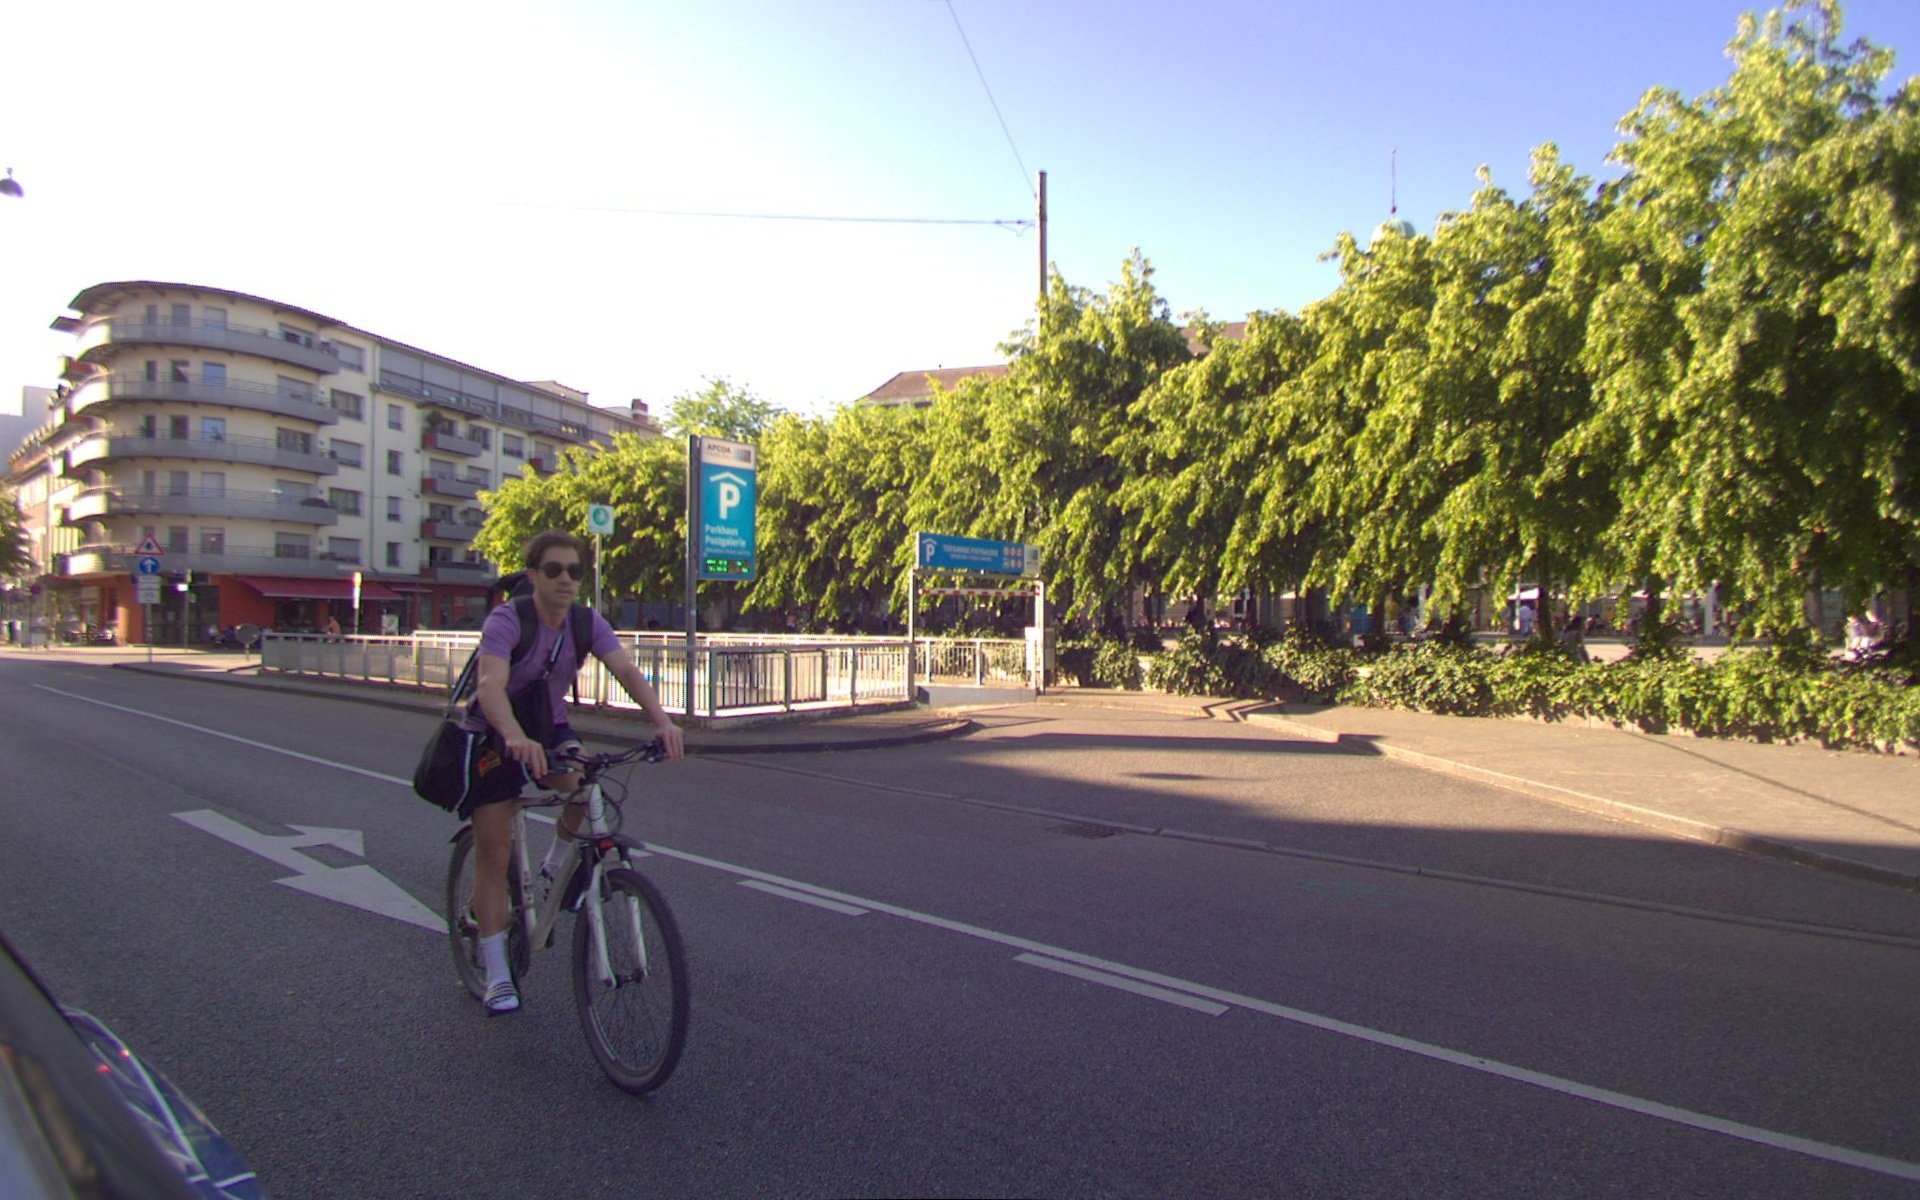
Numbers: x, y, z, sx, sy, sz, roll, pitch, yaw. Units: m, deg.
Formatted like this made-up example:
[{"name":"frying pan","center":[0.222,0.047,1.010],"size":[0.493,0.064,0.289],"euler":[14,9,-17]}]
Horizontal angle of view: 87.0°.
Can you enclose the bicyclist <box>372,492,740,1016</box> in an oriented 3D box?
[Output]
[{"name":"bicyclist","center":[-1.378,0.432,3.432],"size":[1.007,1.445,0.788],"euler":[-1,-1,41]}]

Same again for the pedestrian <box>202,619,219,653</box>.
[{"name":"pedestrian","center":[-37.645,1.808,50.809],"size":[0.642,1.721,0.568],"euler":[-2,-2,43]}]

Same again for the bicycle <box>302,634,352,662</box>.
[{"name":"bicycle","center":[-29.819,2.251,47.686],"size":[1.843,1.221,0.715],"euler":[0,0,-10]}]

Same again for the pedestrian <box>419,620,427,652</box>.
[{"name":"pedestrian","center":[-28.291,1.914,53.358],"size":[0.318,1.680,0.362],"euler":[0,-1,-17]}]

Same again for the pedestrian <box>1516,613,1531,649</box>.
[{"name":"pedestrian","center":[28.847,1.567,51.810],"size":[0.598,1.806,0.577],"euler":[-1,0,27]}]

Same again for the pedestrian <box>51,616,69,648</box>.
[{"name":"pedestrian","center":[-47.246,1.674,53.132],"size":[0.792,1.634,0.563],"euler":[-1,-1,37]}]

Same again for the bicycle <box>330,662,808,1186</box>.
[{"name":"bicycle","center":[-1.398,0.869,3.441],"size":[1.773,1.242,0.788],"euler":[-1,-1,41]}]

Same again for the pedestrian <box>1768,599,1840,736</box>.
[{"name":"pedestrian","center":[11.794,0.920,14.153],"size":[0.597,1.870,0.578],"euler":[-1,0,22]}]

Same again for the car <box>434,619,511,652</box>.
[{"name":"car","center":[-30.453,2.192,63.388],"size":[1.938,1.927,4.403],"euler":[-1,-1,16]}]

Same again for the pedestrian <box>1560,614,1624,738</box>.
[{"name":"pedestrian","center":[9.892,1.166,15.838],"size":[0.732,1.870,0.574],"euler":[-1,-1,44]}]

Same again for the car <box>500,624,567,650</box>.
[{"name":"car","center":[-28.883,2.468,68.616],"size":[1.938,1.633,4.272],"euler":[-1,-1,16]}]

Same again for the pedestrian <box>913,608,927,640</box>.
[{"name":"pedestrian","center":[-2.286,1.379,58.095],"size":[0.578,1.806,0.597],"euler":[-1,0,20]}]

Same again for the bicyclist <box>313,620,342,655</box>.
[{"name":"bicyclist","center":[-29.816,1.748,47.688],"size":[0.960,1.627,0.715],"euler":[0,0,-10]}]

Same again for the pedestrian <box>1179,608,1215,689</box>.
[{"name":"pedestrian","center":[5.565,1.117,23.800],"size":[0.674,1.870,0.577],"euler":[-1,-1,30]}]

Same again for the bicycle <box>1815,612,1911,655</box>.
[{"name":"bicycle","center":[22.946,0.840,25.775],"size":[0.496,1.024,2.061],"euler":[-1,0,-3]}]

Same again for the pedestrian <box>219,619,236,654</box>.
[{"name":"pedestrian","center":[-36.815,1.821,50.883],"size":[0.642,1.721,0.568],"euler":[-2,-2,43]}]

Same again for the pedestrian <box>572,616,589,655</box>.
[{"name":"pedestrian","center":[-17.478,1.632,46.630],"size":[0.574,1.806,0.602],"euler":[0,0,-5]}]

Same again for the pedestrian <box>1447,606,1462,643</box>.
[{"name":"pedestrian","center":[24.009,1.187,49.136],"size":[0.599,1.806,0.576],"euler":[-1,-1,31]}]

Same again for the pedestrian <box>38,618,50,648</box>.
[{"name":"pedestrian","center":[-47.790,1.715,52.788],"size":[0.515,1.541,0.371],"euler":[-1,-1,37]}]
